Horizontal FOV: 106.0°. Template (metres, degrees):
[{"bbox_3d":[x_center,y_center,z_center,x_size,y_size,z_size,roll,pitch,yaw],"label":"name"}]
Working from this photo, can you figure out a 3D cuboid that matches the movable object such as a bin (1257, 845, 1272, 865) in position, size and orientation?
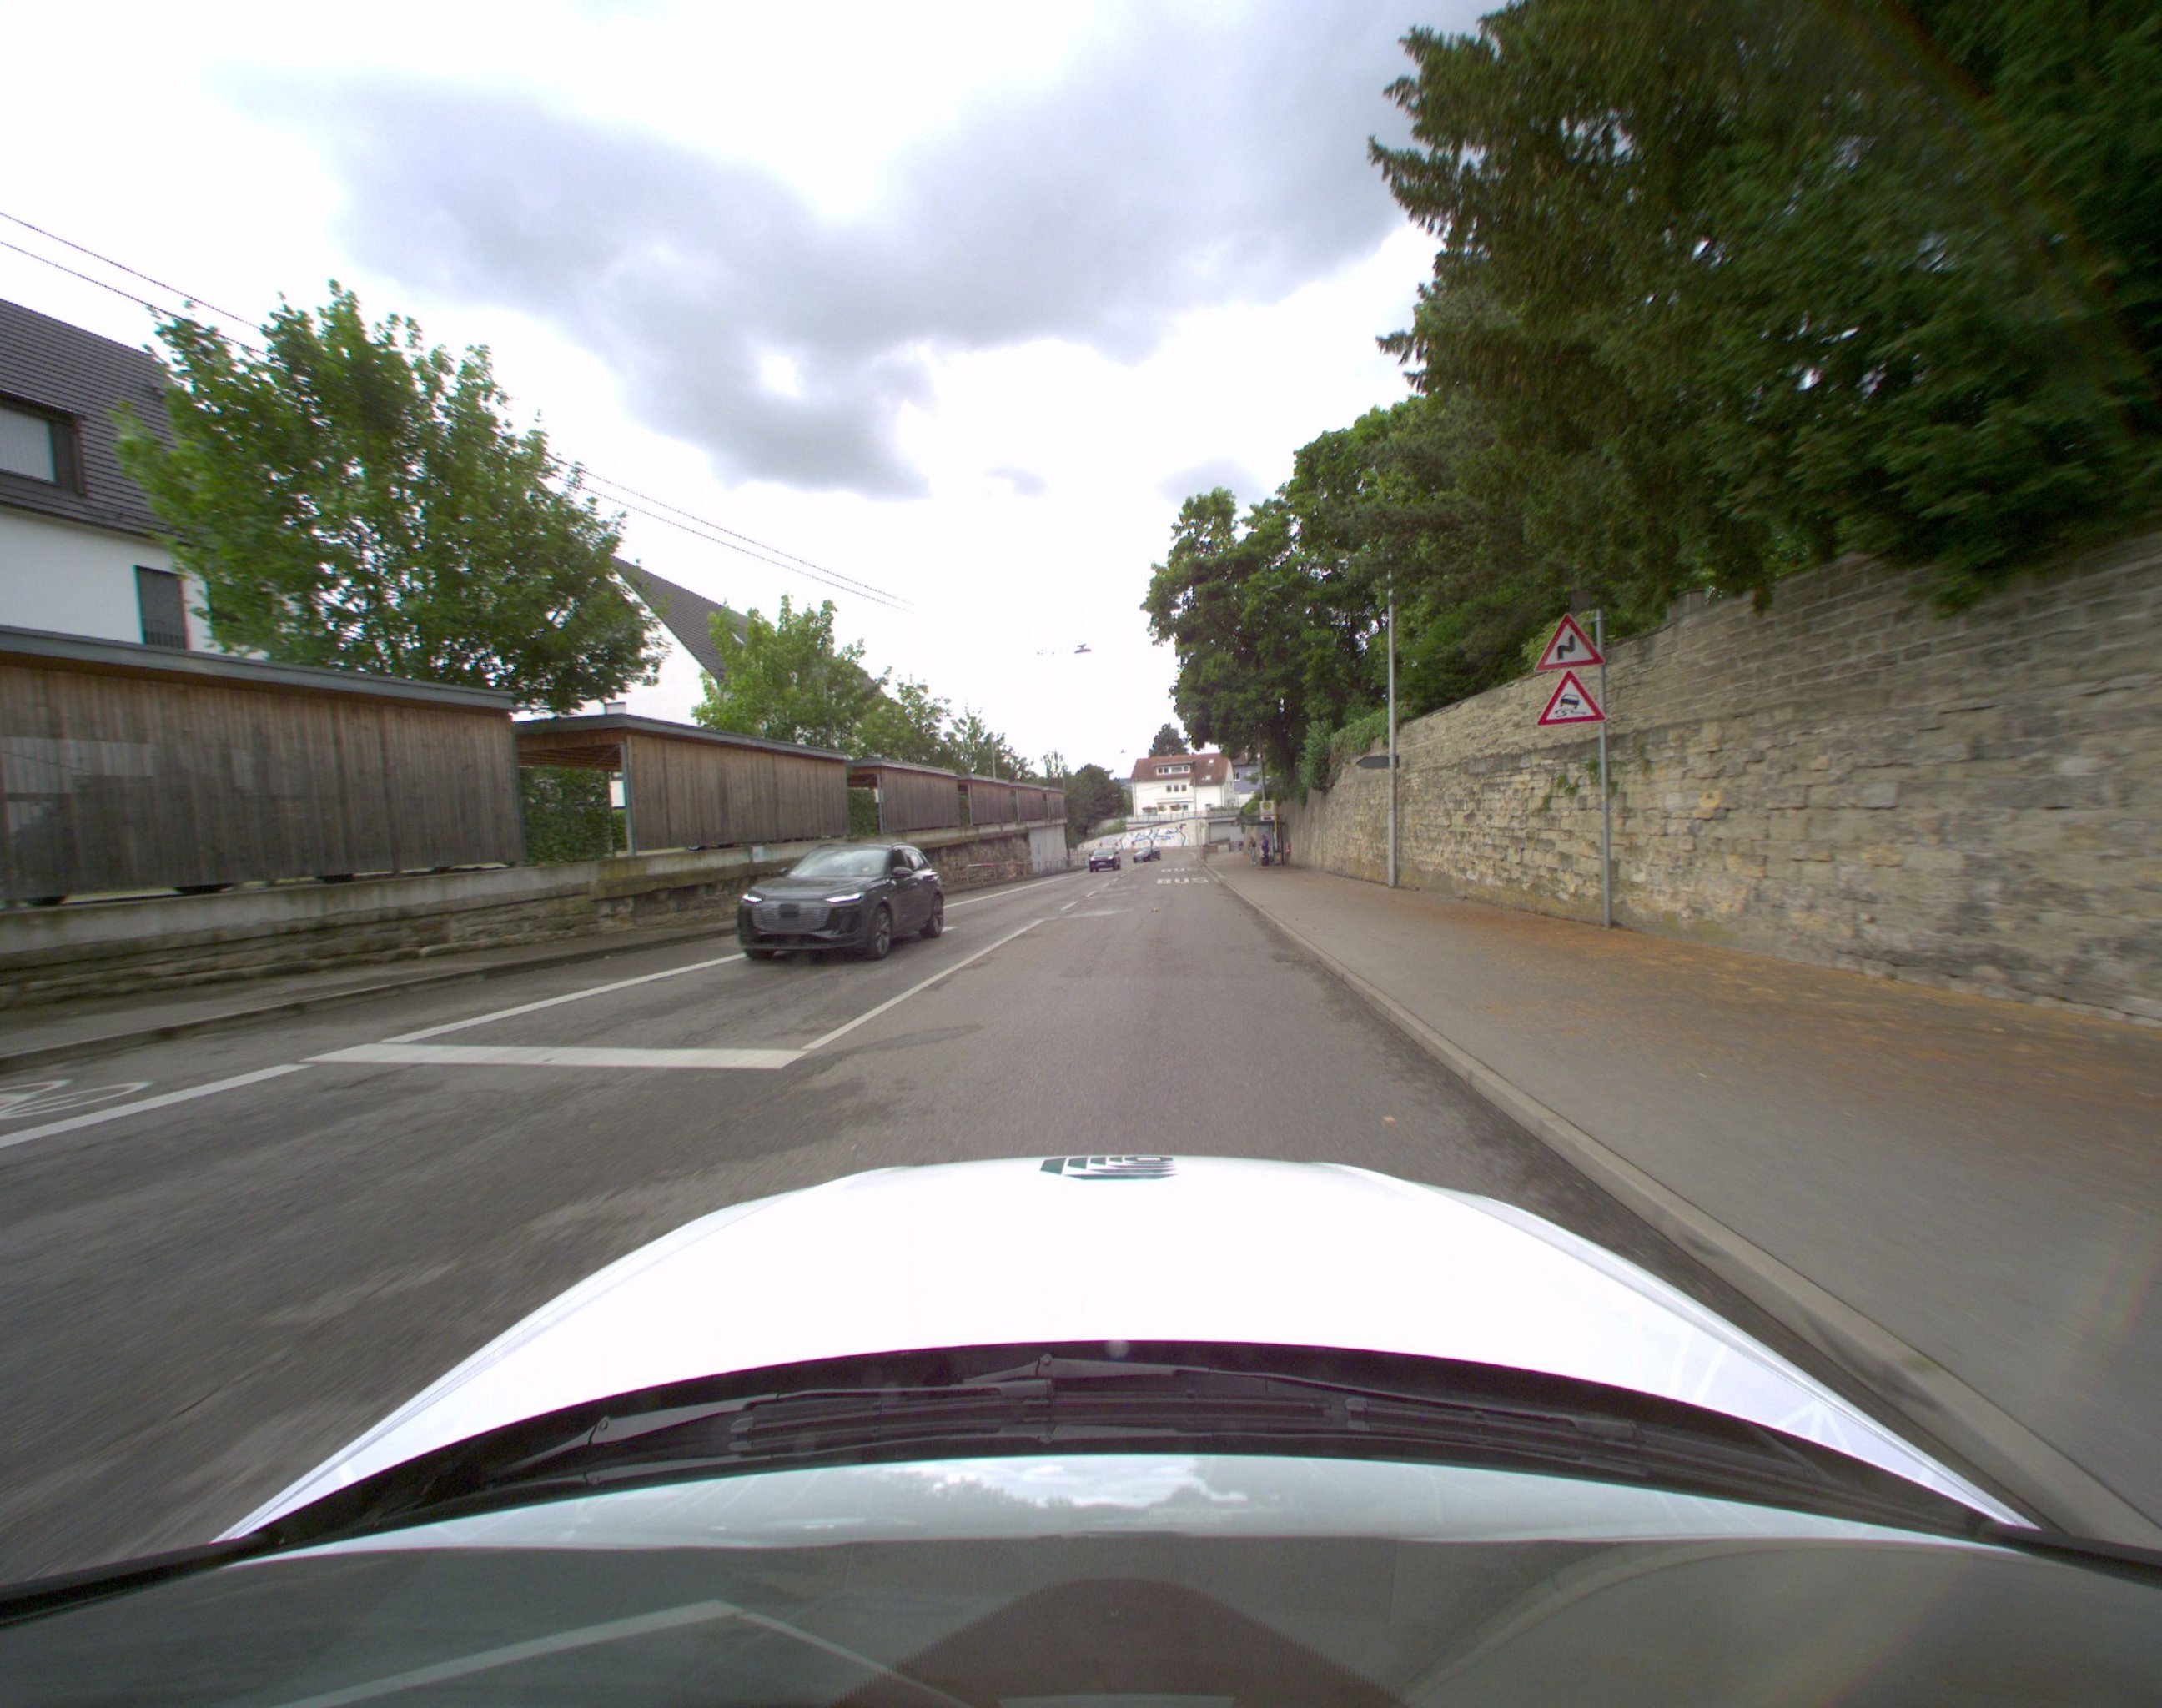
[{"bbox_3d":[9.873,0.046,43.839,0.672,1.020,0.627,-3,1,1],"label":"movable object such as a bin"}]

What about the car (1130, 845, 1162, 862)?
[{"bbox_3d":[6.308,-0.054,78.655,1.719,1.532,4.023,-3,0,24],"label":"car"}]

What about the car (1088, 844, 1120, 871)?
[{"bbox_3d":[1.705,0.223,58.854,1.884,1.756,4.445,-3,0,6],"label":"car"}]

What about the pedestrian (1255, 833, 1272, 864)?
[{"bbox_3d":[9.985,-0.278,44.528,0.718,1.642,0.631,-3,0,2],"label":"pedestrian"}]

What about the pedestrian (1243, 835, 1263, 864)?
[{"bbox_3d":[9.882,-0.253,46.850,0.778,1.587,0.728,-5,1,-42],"label":"pedestrian"}]

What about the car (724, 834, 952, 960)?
[{"bbox_3d":[-3.548,0.578,12.926,1.913,1.630,4.529,-1,0,5],"label":"car"}]
